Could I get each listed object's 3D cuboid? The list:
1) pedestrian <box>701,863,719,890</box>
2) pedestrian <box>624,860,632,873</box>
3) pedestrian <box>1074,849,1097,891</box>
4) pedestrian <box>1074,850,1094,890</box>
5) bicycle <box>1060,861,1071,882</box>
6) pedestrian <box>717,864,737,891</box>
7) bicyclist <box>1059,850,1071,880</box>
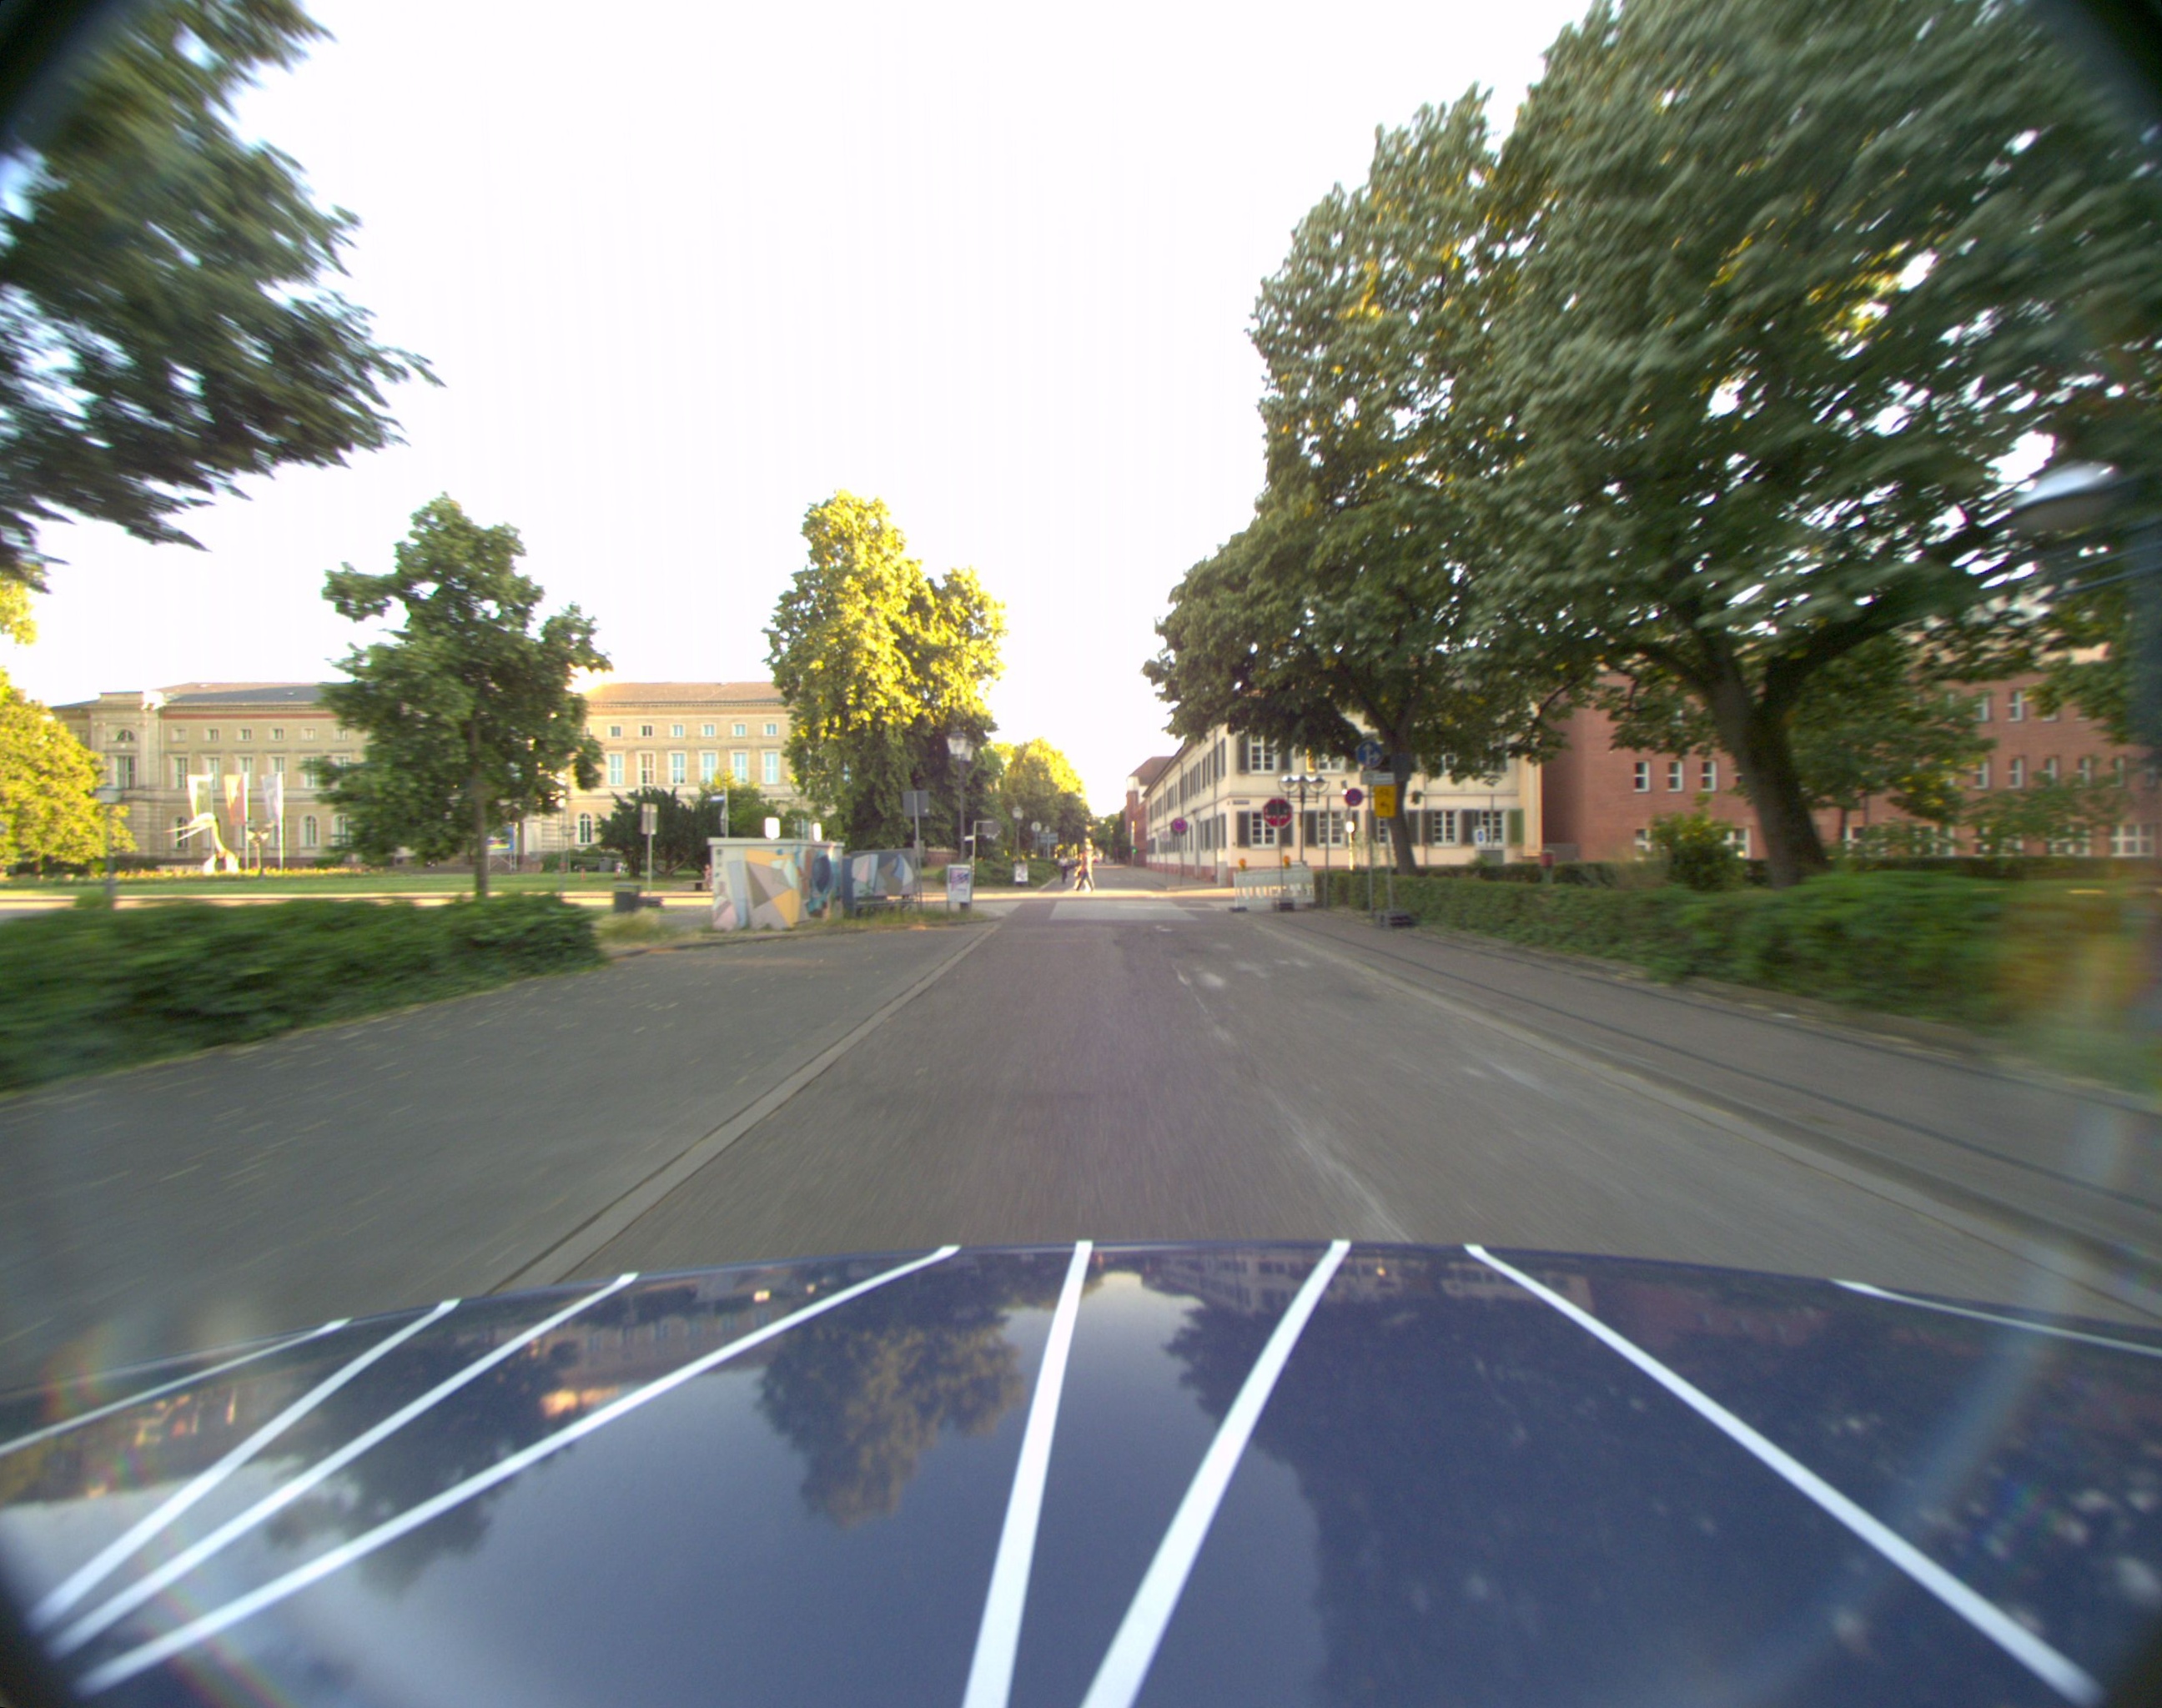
[{"bbox_3d":[-16.819,1.031,34.445,0.500,1.207,0.592,-1,1,-5],"label":"pedestrian"},{"bbox_3d":[-43.941,1.213,73.689,0.500,1.281,0.592,-1,1,-5],"label":"pedestrian"},{"bbox_3d":[0.176,0.667,32.588,0.941,1.777,0.762,0,1,-1],"label":"pedestrian"},{"bbox_3d":[0.132,0.682,33.437,0.859,1.730,0.649,0,1,-1],"label":"pedestrian"},{"bbox_3d":[-0.980,1.064,46.630,0.653,1.175,2.344,0,0,-2],"label":"bicycle"},{"bbox_3d":[-16.130,1.061,34.598,0.608,1.207,0.666,-1,1,-5],"label":"pedestrian"},{"bbox_3d":[-0.994,0.654,46.714,0.672,1.793,1.060,-1,0,-2],"label":"bicyclist"}]
